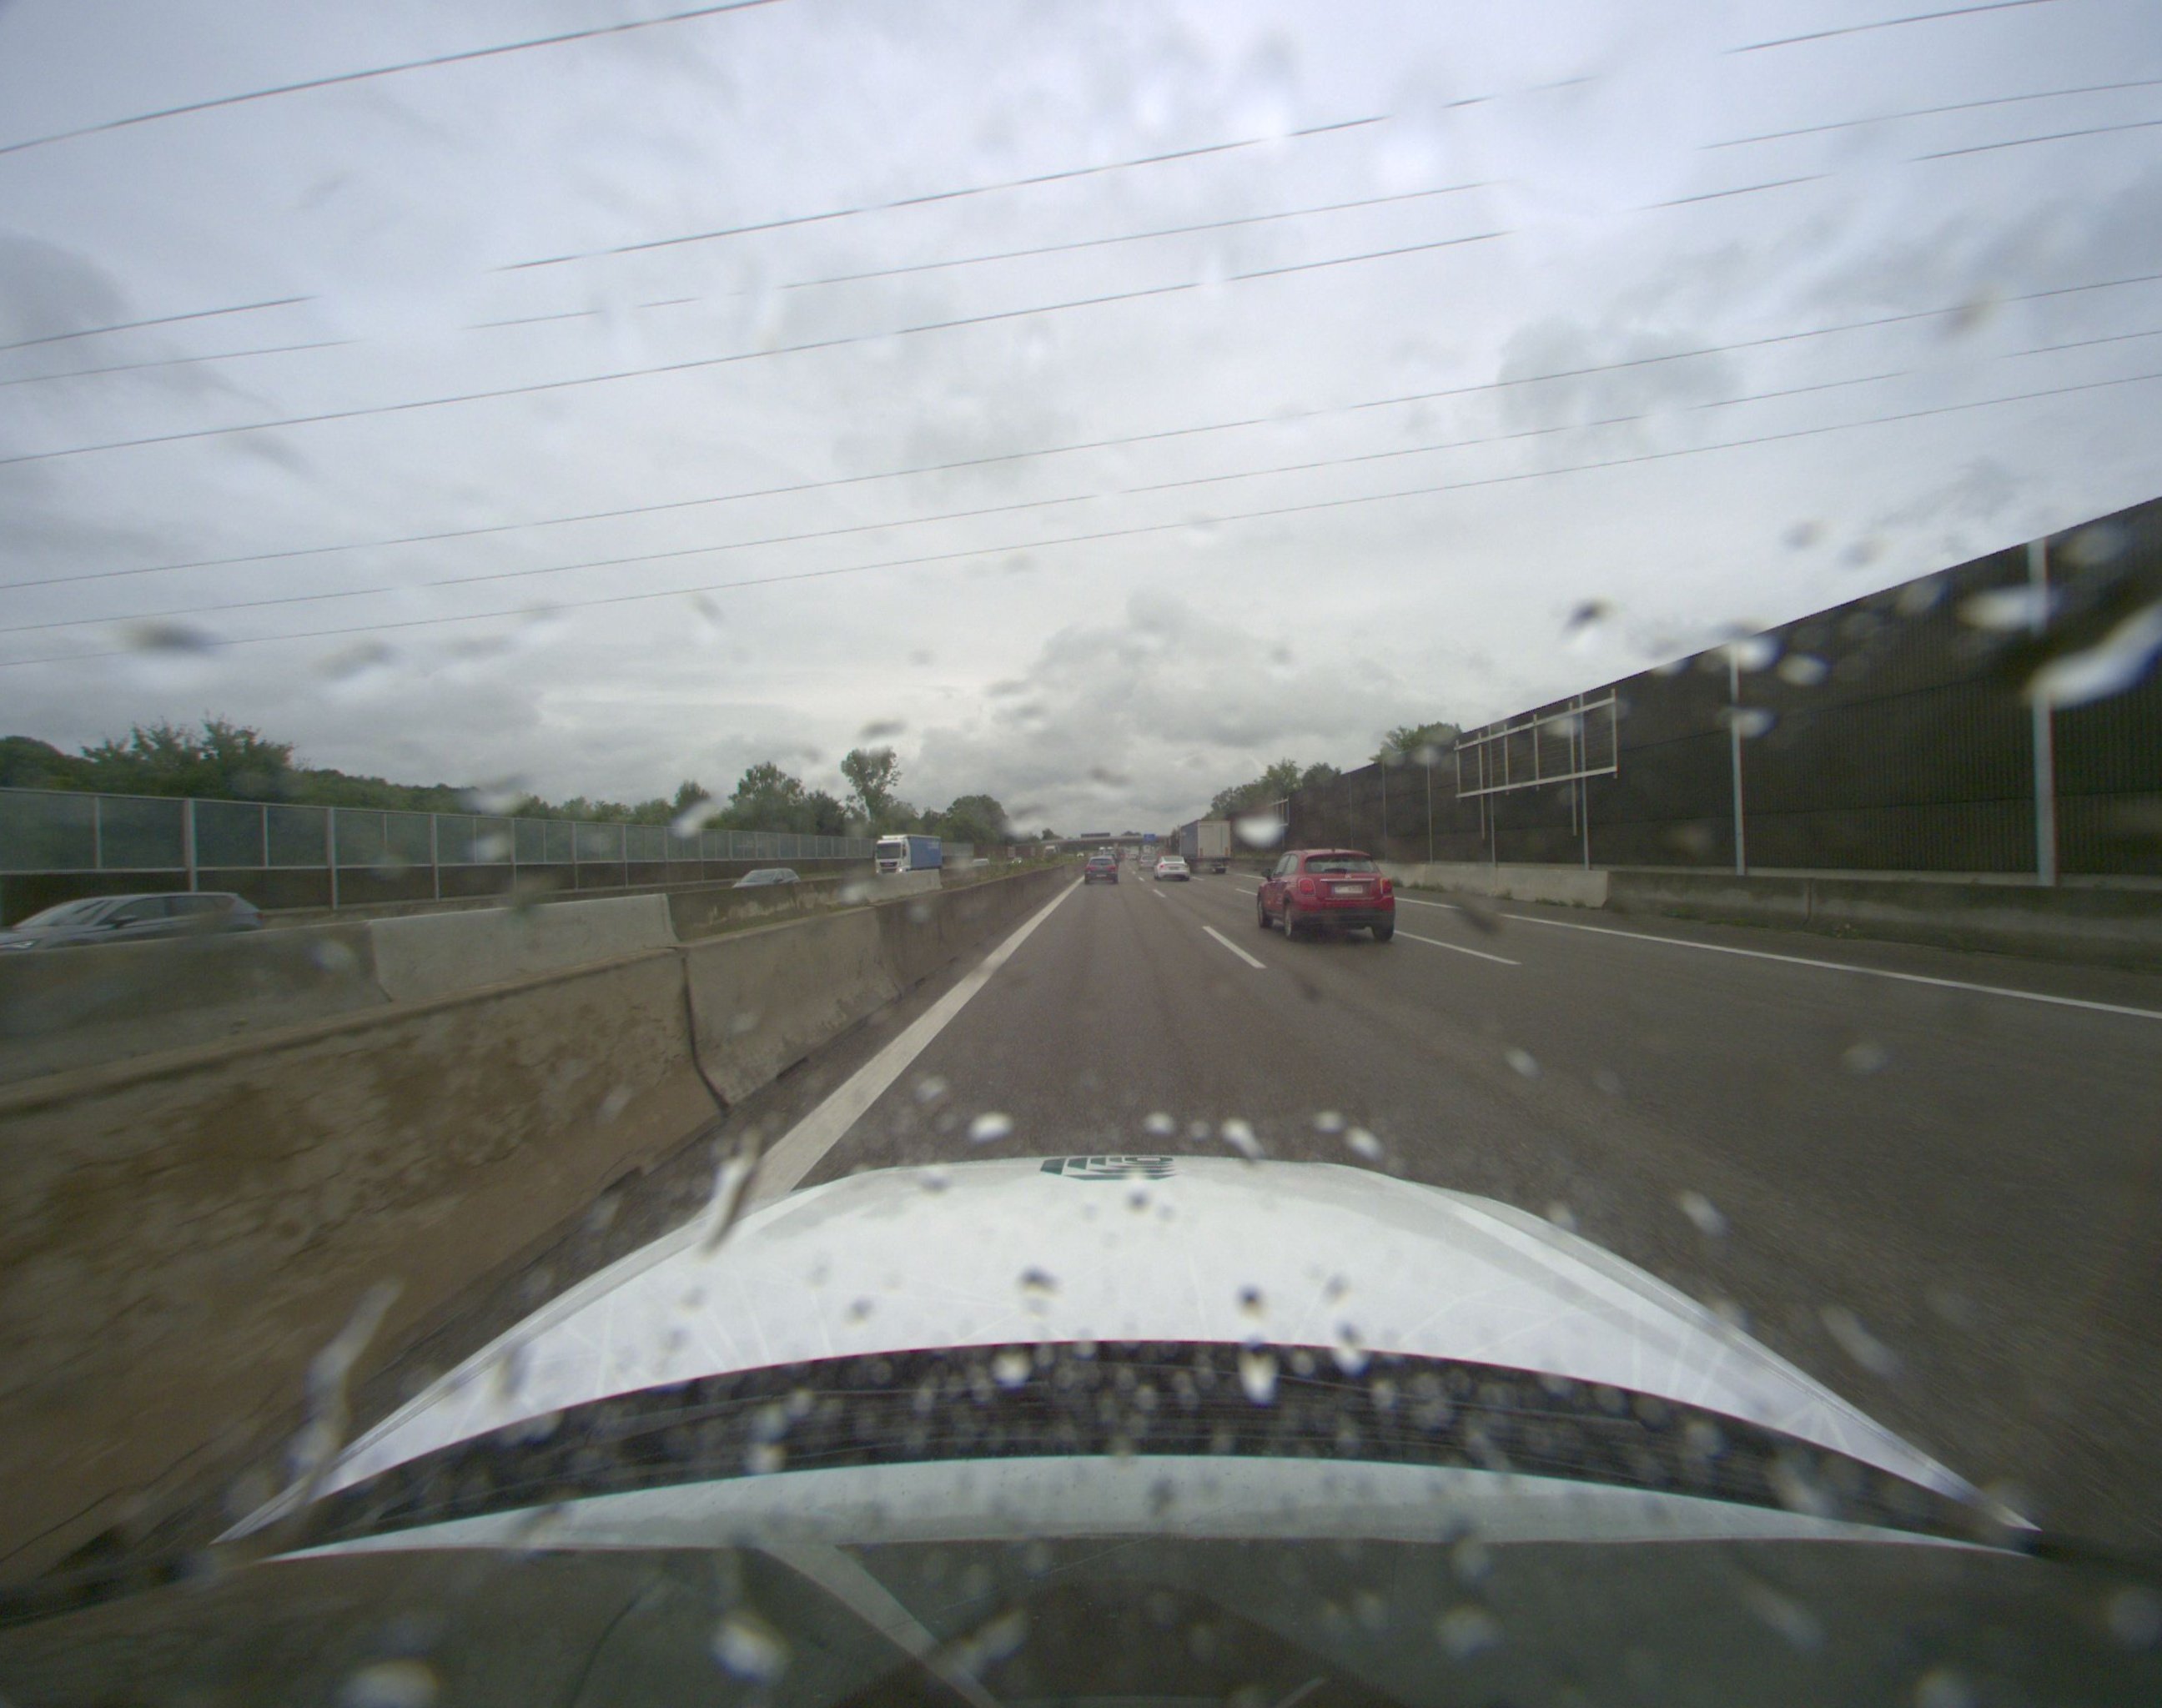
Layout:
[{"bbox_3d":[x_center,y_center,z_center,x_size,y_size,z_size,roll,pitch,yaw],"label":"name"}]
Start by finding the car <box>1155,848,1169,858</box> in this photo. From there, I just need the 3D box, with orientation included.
[{"bbox_3d":[13.566,-0.158,136.210,1.986,1.519,4.001,-1,0,1],"label":"car"}]

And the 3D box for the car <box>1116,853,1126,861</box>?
[{"bbox_3d":[8.221,0.634,167.999,1.986,1.624,4.002,-1,0,2],"label":"car"}]

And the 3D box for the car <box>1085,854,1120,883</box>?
[{"bbox_3d":[1.100,0.753,43.300,1.758,1.453,4.000,0,0,0],"label":"car"}]

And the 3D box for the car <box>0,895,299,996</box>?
[{"bbox_3d":[-18.229,1.647,15.506,2.113,1.626,4.637,-1,-4,0],"label":"car"}]

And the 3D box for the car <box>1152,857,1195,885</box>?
[{"bbox_3d":[5.319,0.944,47.276,1.988,1.486,3.998,-1,0,-1],"label":"car"}]

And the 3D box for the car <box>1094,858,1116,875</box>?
[{"bbox_3d":[2.052,1.025,70.066,1.776,1.406,3.625,-1,0,-1],"label":"car"}]

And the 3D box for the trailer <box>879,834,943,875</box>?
[{"bbox_3d":[-16.409,0.106,80.072,2.982,3.692,14.061,0,0,1],"label":"trailer"}]

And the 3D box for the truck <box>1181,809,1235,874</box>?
[{"bbox_3d":[9.688,-0.885,62.966,3.035,4.734,7.678,0,0,0],"label":"truck"}]

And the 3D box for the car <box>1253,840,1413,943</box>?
[{"bbox_3d":[4.492,0.622,15.169,1.949,1.647,4.004,-1,-1,3],"label":"car"}]

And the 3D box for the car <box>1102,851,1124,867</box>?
[{"bbox_3d":[3.263,0.519,84.500,1.988,1.585,3.998,-2,0,-1],"label":"car"}]

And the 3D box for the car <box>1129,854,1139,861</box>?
[{"bbox_3d":[11.613,0.763,177.399,1.986,1.519,4.001,-1,0,1],"label":"car"}]

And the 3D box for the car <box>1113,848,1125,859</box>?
[{"bbox_3d":[6.580,-0.087,141.963,1.987,1.815,3.999,0,0,0],"label":"car"}]

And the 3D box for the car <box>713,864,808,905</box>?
[{"bbox_3d":[-13.706,1.364,35.197,2.211,1.626,4.637,-1,-4,0],"label":"car"}]

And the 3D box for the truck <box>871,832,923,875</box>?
[{"bbox_3d":[-16.542,-0.037,73.647,2.982,3.692,6.883,0,0,1],"label":"truck"}]

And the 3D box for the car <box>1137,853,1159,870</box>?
[{"bbox_3d":[6.095,0.677,74.586,1.697,1.543,3.838,-1,0,0],"label":"car"}]
